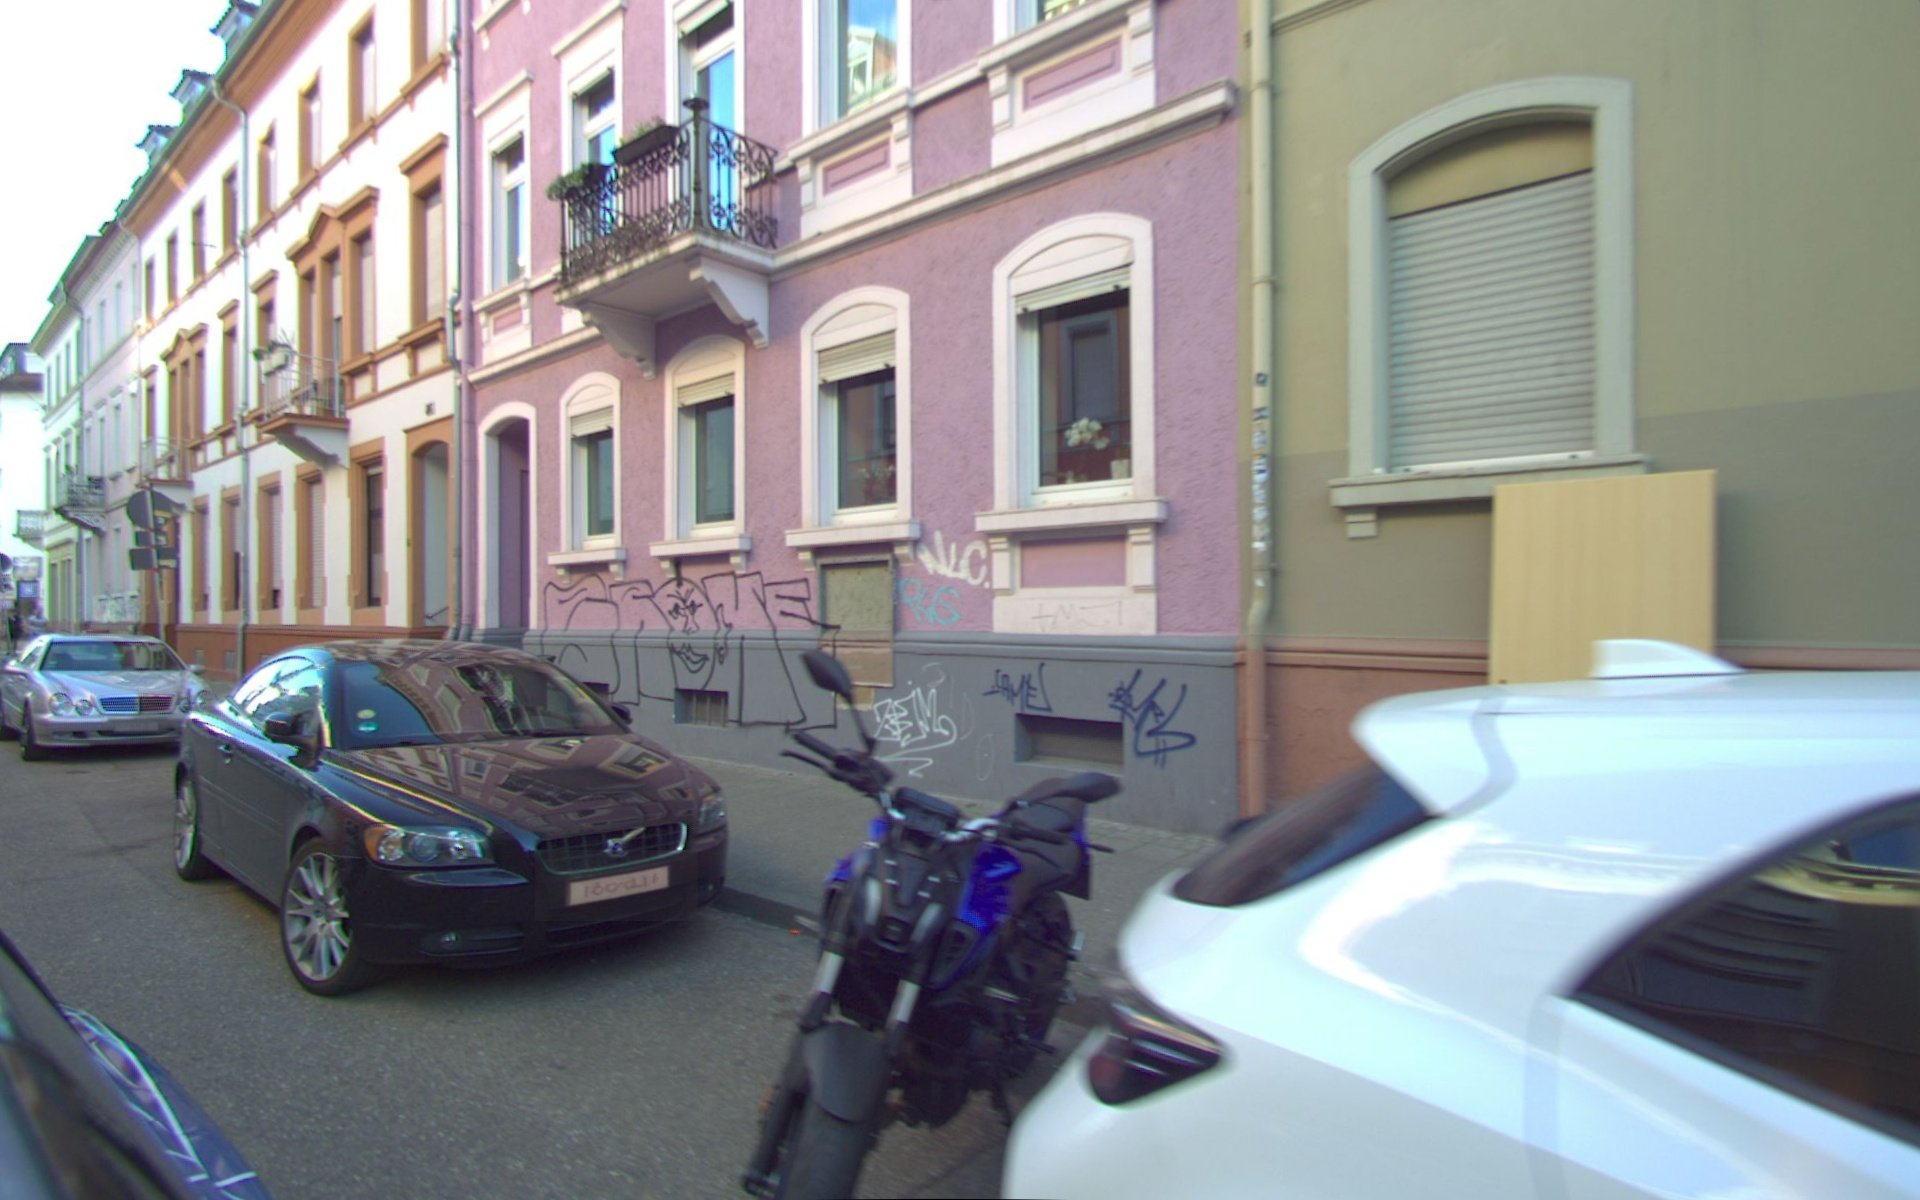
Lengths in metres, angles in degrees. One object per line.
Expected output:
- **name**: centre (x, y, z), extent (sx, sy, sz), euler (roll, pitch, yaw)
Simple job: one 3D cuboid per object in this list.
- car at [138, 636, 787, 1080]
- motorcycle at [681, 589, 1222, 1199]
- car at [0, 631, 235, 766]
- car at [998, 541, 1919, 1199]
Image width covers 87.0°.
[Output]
- **car**: centre (-2.924, 0.919, 5.407), extent (4.303, 1.401, 1.707), euler (-1, -3, 44)
- **motorcycle**: centre (0.177, 0.726, 2.829), extent (0.818, 1.490, 1.954), euler (-1, 0, 21)
- **car**: centre (-10.580, 1.074, 12.405), extent (4.378, 1.353, 1.748), euler (-1, -3, 41)
- **car**: centre (2.205, 0.697, 0.606), extent (4.197, 1.473, 1.769), euler (-1, -3, 41)
